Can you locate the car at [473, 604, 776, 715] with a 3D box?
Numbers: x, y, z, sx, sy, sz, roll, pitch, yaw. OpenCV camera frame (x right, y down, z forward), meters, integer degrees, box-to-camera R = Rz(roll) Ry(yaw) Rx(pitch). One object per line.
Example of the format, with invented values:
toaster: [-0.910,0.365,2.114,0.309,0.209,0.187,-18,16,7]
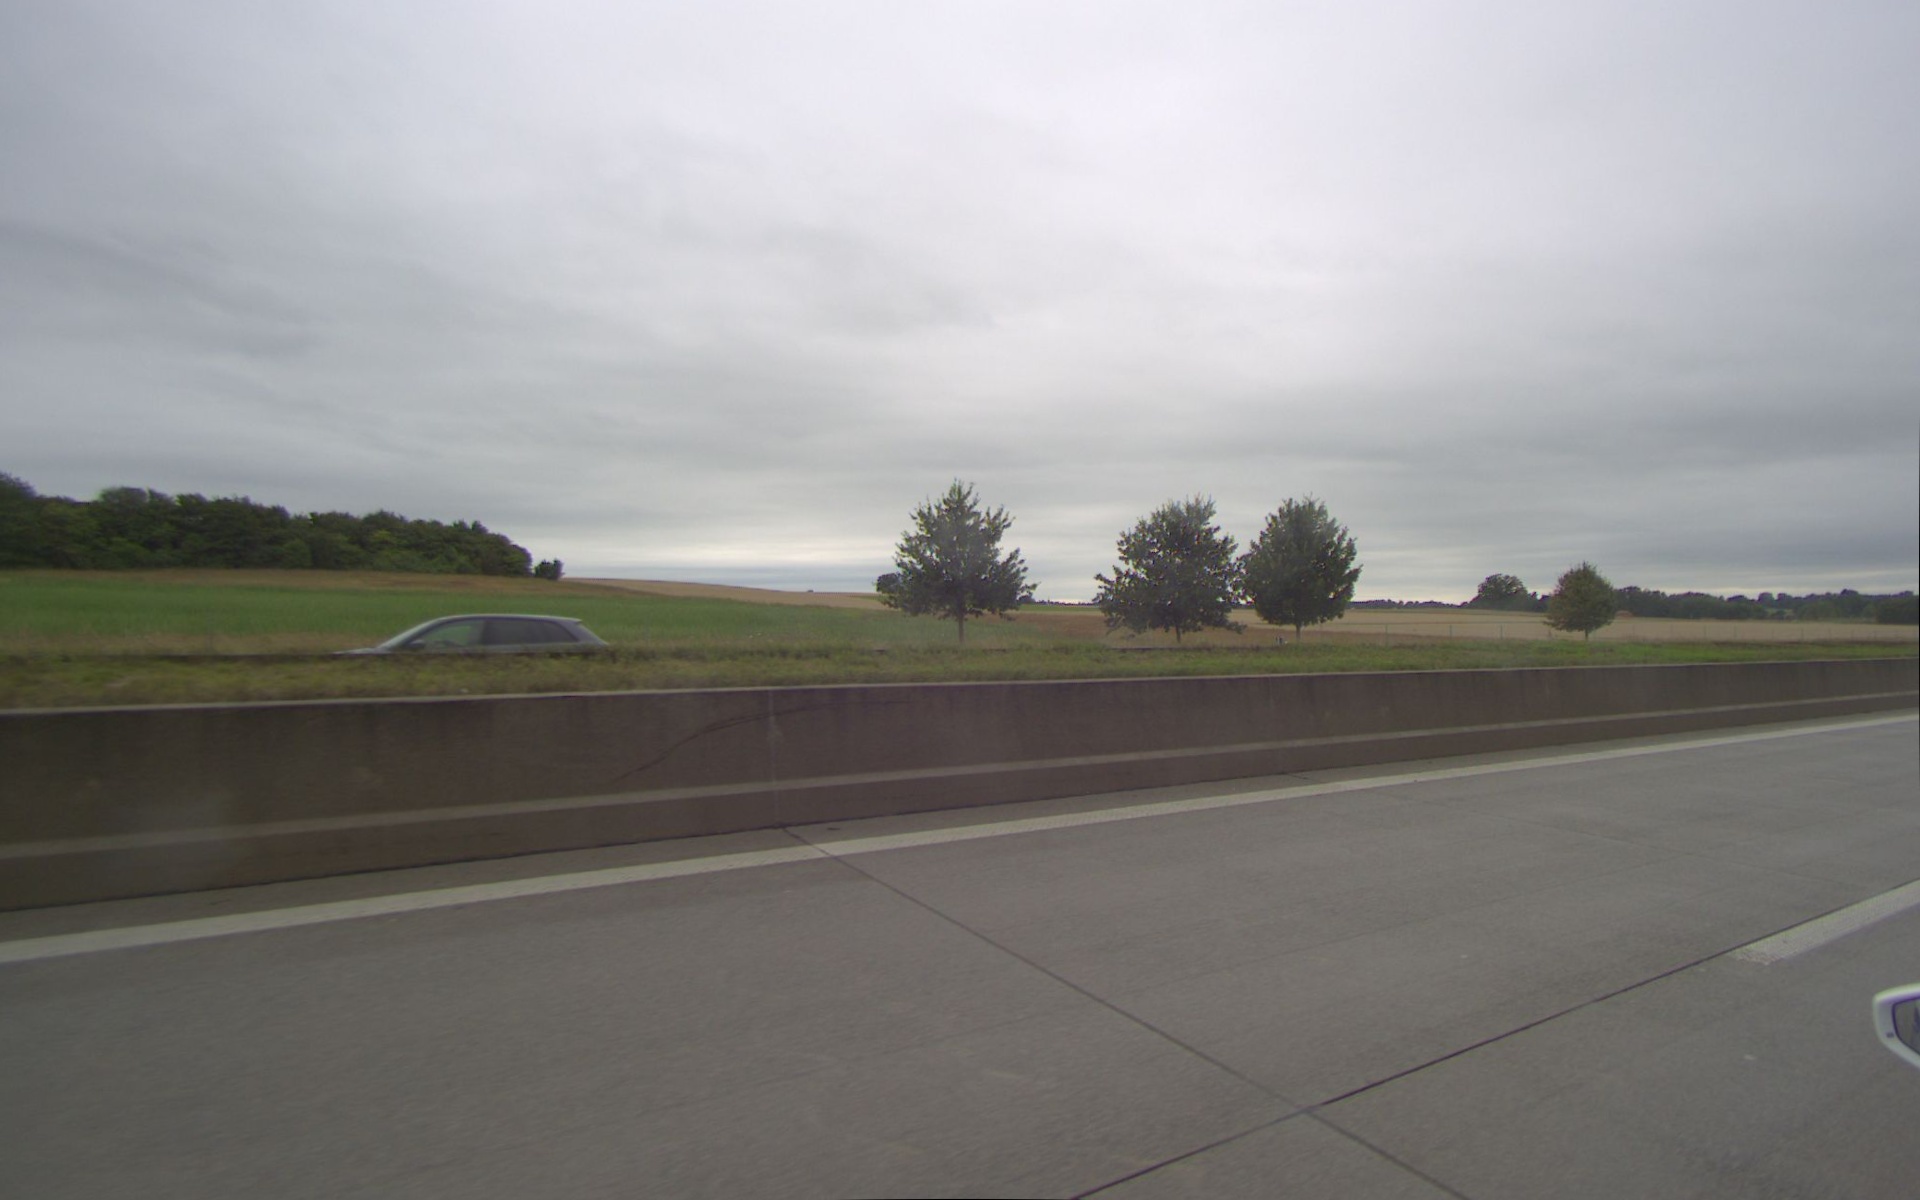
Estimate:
car: [-4.972,0.830,15.071,4.022,1.417,1.662,1,1,-33]
